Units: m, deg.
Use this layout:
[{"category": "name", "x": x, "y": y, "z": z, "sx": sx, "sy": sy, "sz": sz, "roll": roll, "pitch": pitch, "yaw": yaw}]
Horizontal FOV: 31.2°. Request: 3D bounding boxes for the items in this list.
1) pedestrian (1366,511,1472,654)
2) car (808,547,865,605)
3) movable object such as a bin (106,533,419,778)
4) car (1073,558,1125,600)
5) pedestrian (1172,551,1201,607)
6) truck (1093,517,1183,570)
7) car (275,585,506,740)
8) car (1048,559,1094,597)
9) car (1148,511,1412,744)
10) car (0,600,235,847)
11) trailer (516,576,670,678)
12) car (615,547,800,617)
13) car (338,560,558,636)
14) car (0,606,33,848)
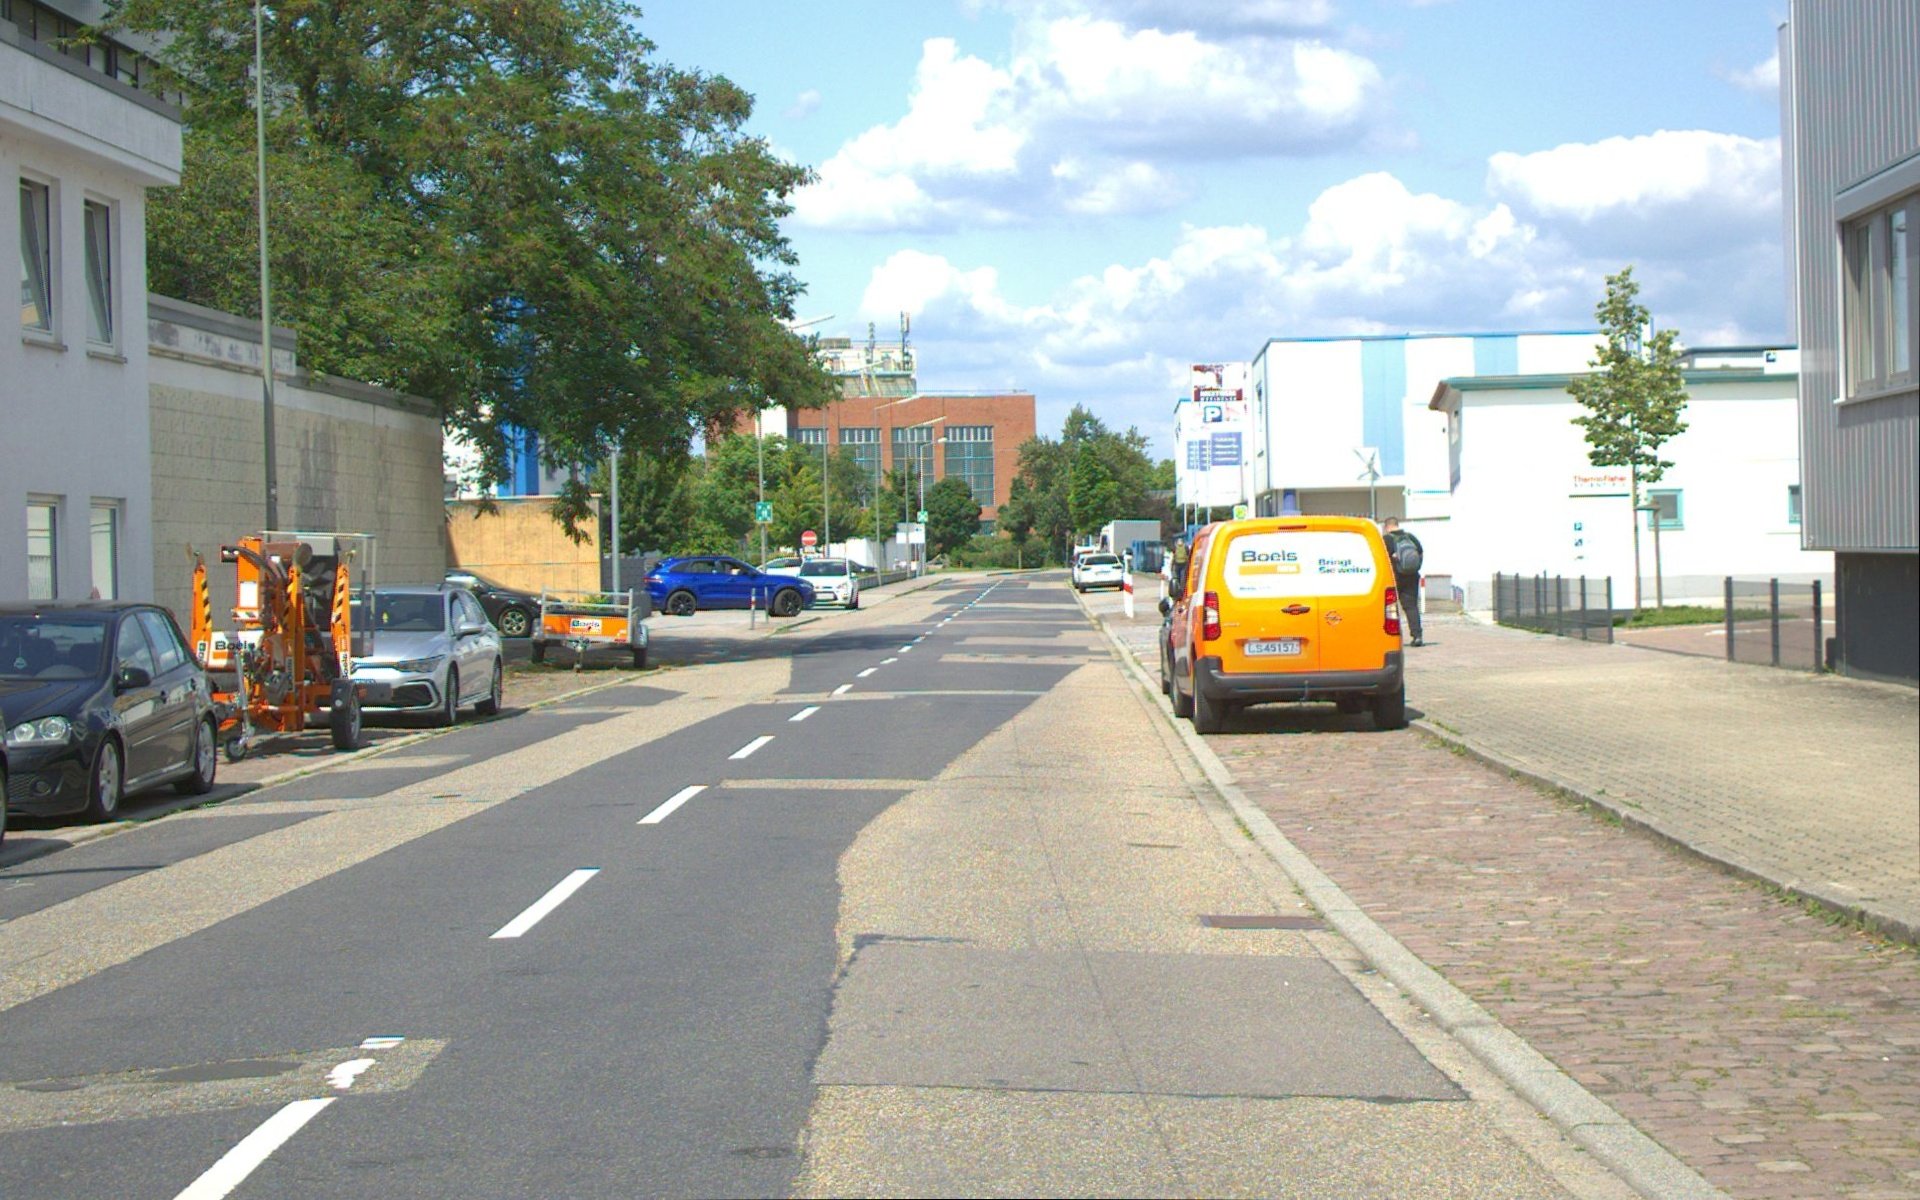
[{"category": "pedestrian", "x": 6.442, "y": -0.244, "z": 48.324, "sx": 0.989, "sy": 1.945, "sz": 1.091, "roll": -3, "pitch": 1, "yaw": -21}, {"category": "car", "x": -3.766, "y": -0.739, "z": 104.491, "sx": 1.685, "sy": 1.658, "sz": 4.001, "roll": -1, "pitch": 1, "yaw": -2}, {"category": "movable object such as a bin", "x": -6.055, "y": 0.402, "z": 30.404, "sx": 1.614, "sy": 1.912, "sz": 5.138, "roll": 2, "pitch": 1, "yaw": 1}, {"category": "car", "x": 5.393, "y": -0.835, "z": 133.925, "sx": 1.867, "sy": 1.515, "sz": 4.598, "roll": -2, "pitch": 1, "yaw": 1}, {"category": "pedestrian", "x": 7.286, "y": -0.687, "z": 110.474, "sx": 0.769, "sy": 1.750, "sz": 0.787, "roll": -4, "pitch": 1, "yaw": 1}, {"category": "truck", "x": 13.180, "y": -4.197, "z": 254.134, "sx": 2.325, "sy": 3.555, "sz": 9.351, "roll": 0, "pitch": 3, "yaw": 32}, {"category": "car", "x": -5.872, "y": 0.603, "z": 35.907, "sx": 1.673, "sy": 1.450, "sz": 4.514, "roll": 0, "pitch": 1, "yaw": 0}, {"category": "car", "x": 4.722, "y": -0.957, "z": 146.703, "sx": 1.835, "sy": 1.515, "sz": 4.461, "roll": -2, "pitch": 1, "yaw": 1}, {"category": "car", "x": 2.803, "y": 0.194, "z": 31.007, "sx": 1.872, "sy": 1.886, "sz": 4.453, "roll": 2, "pitch": 1, "yaw": 0}, {"category": "car", "x": -6.215, "y": 0.769, "z": 23.396, "sx": 1.673, "sy": 1.450, "sz": 4.224, "roll": 0, "pitch": 1, "yaw": 0}, {"category": "trailer", "x": -5.557, "y": 0.382, "z": 52.462, "sx": 1.767, "sy": 1.434, "sz": 4.336, "roll": 1, "pitch": 1, "yaw": 2}, {"category": "car", "x": -6.801, "y": -0.494, "z": 92.479, "sx": 4.685, "sy": 1.587, "sz": 1.916, "roll": -3, "pitch": 1, "yaw": -12}, {"category": "car", "x": -10.169, "y": -0.048, "z": 68.460, "sx": 3.994, "sy": 1.357, "sz": 1.794, "roll": 2, "pitch": 1, "yaw": 5}, {"category": "car", "x": -6.326, "y": 0.758, "z": 18.431, "sx": 1.673, "sy": 1.372, "sz": 3.884, "roll": 0, "pitch": 1, "yaw": 0}]
